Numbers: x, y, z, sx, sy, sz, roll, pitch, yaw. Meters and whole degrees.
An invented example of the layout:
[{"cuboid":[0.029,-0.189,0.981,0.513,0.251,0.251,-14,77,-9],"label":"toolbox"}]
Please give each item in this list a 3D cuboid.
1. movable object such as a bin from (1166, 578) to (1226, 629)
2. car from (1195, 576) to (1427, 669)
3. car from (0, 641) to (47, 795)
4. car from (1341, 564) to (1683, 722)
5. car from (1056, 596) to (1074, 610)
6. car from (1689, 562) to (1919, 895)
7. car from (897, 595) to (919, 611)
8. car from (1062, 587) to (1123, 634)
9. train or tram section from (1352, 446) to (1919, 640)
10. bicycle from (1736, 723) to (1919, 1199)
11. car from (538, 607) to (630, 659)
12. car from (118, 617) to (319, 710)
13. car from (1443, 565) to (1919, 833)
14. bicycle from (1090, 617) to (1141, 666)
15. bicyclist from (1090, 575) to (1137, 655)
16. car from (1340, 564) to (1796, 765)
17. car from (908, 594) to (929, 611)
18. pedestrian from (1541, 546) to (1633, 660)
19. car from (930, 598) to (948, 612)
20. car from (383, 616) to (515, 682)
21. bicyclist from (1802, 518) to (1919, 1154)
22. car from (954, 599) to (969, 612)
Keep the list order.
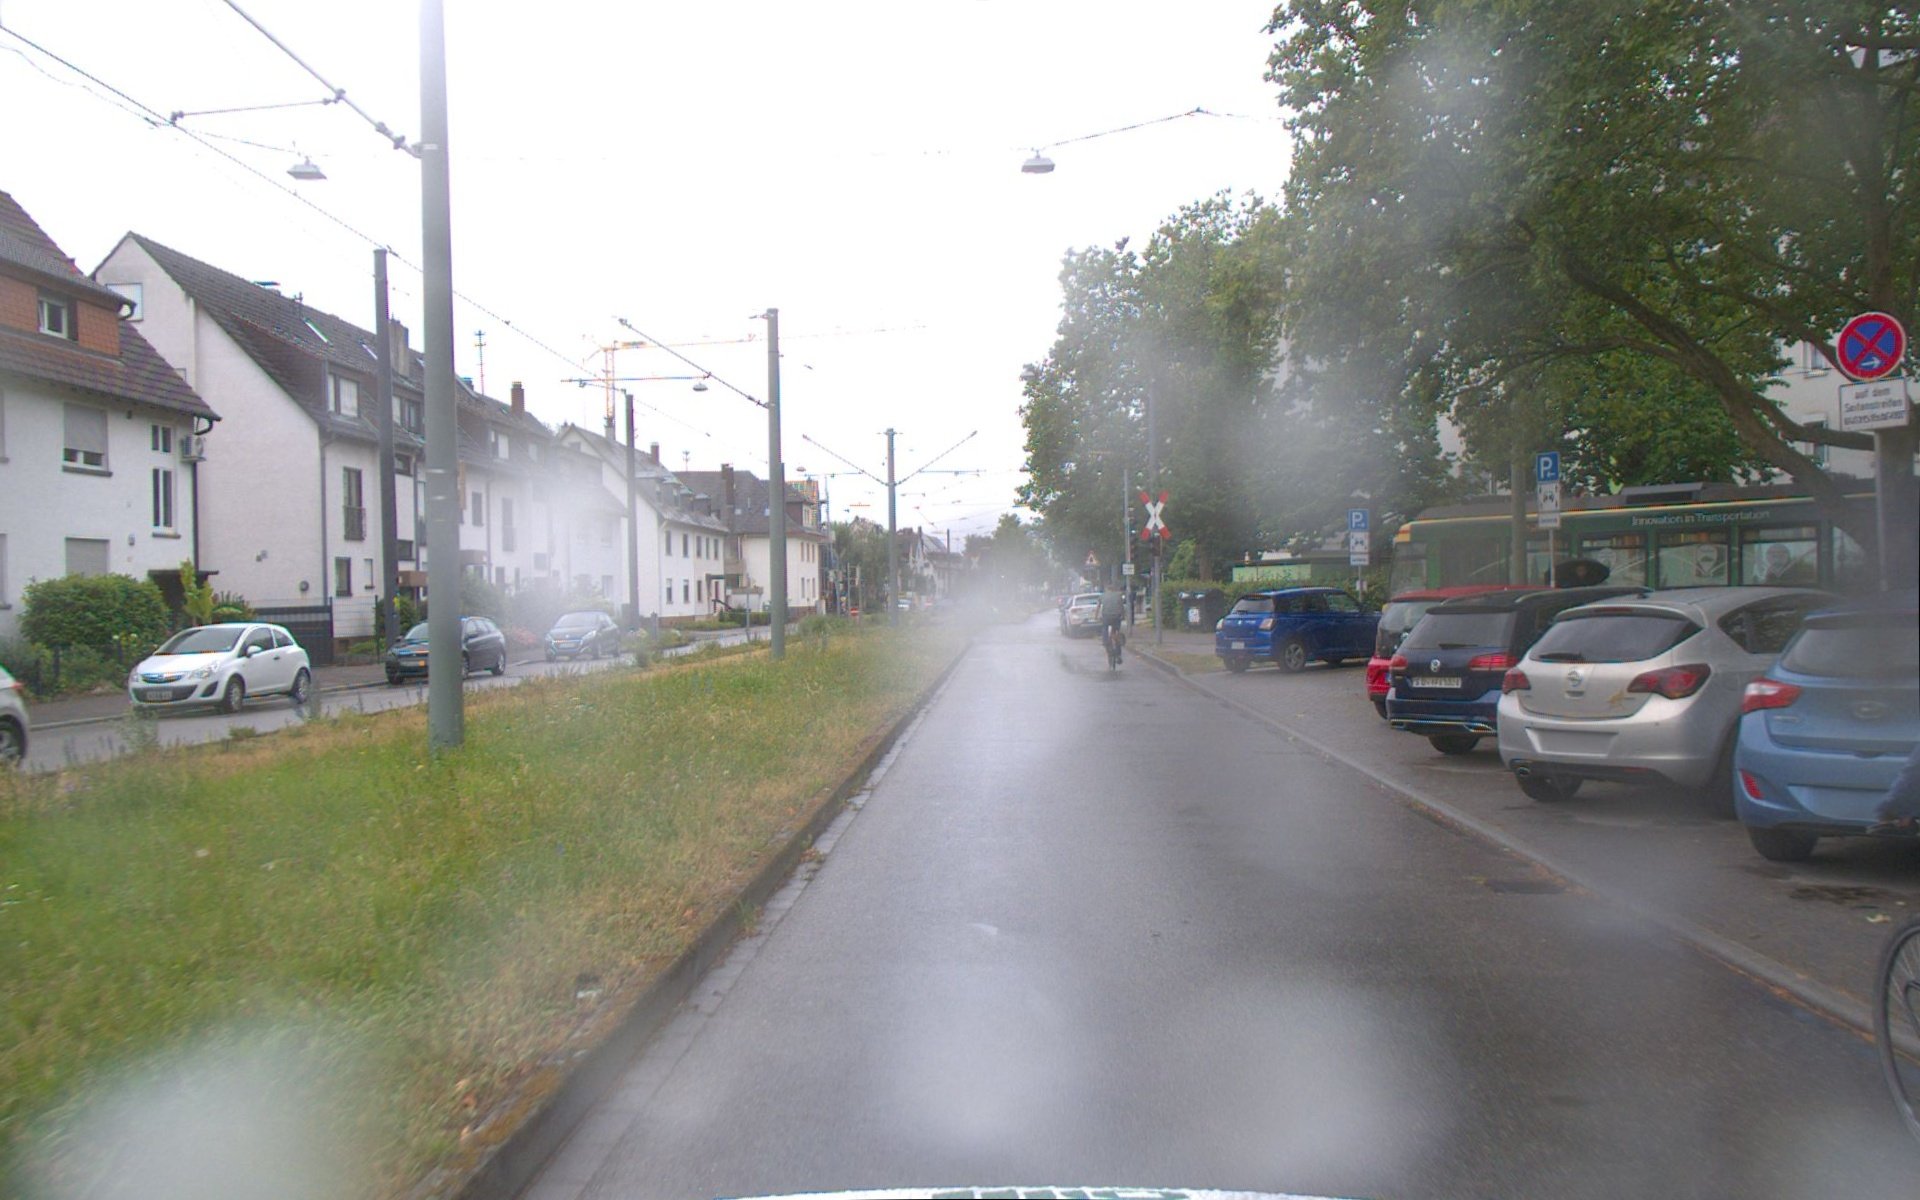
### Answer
[{"cuboid":[8.401,0.136,58.868,1.528,1.733,1.491,-2,0,-22],"label":"movable object such as a bin"},{"cuboid":[6.569,0.374,30.908,3.945,1.509,1.980,-2,2,-30],"label":"car"},{"cuboid":[-9.880,1.094,14.442,1.567,1.449,3.821,-2,-2,3],"label":"car"},{"cuboid":[6.334,0.449,18.979,3.542,1.505,1.625,-3,1,-25],"label":"car"},{"cuboid":[12.374,0.354,195.165,1.952,1.518,4.000,-2,-2,2],"label":"car"},{"cuboid":[6.064,0.541,9.421,3.961,1.526,1.799,-5,0,-39],"label":"car"},{"cuboid":[-5.525,0.314,176.642,1.952,1.571,4.001,-2,-2,3],"label":"car"},{"cuboid":[4.872,0.391,61.167,1.914,1.580,4.000,-3,-1,1],"label":"car"},{"cuboid":[15.456,-0.973,36.412,2.690,3.653,14.518,0,-1,-40],"label":"train or tram section"},{"cuboid":[2.652,0.941,4.002,0.737,1.091,1.928,-2,1,4],"label":"bicycle"},{"cuboid":[-11.857,1.068,52.395,1.838,1.530,4.134,-2,-2,2],"label":"car"},{"cuboid":[-12.712,1.091,28.620,1.567,1.449,3.944,-2,-2,2],"label":"car"},{"cuboid":[5.698,0.613,12.177,3.949,1.580,1.939,-3,-1,-32],"label":"car"},{"cuboid":[3.181,0.841,33.918,0.804,0.928,1.985,-2,-1,-1],"label":"bicycle"},{"cuboid":[3.156,0.309,34.018,0.814,1.585,0.914,-2,-1,-1],"label":"bicyclist"},{"cuboid":[5.759,0.529,15.584,4.067,1.505,1.847,-4,1,-30],"label":"car"},{"cuboid":[-4.634,0.291,183.327,1.952,1.735,4.001,-2,-2,3],"label":"car"},{"cuboid":[10.015,0.040,26.474,1.023,1.744,1.080,-2,0,2],"label":"pedestrian"},{"cuboid":[-2.613,0.677,208.492,1.952,1.571,4.001,-2,-2,3],"label":"car"},{"cuboid":[-12.211,1.184,39.820,1.567,1.449,4.667,-2,-2,2],"label":"car"},{"cuboid":[2.641,0.549,4.048,0.735,1.511,0.847,-2,1,4],"label":"bicyclist"},{"cuboid":[0.247,0.790,234.373,1.952,1.571,4.001,-2,-2,3],"label":"car"}]
